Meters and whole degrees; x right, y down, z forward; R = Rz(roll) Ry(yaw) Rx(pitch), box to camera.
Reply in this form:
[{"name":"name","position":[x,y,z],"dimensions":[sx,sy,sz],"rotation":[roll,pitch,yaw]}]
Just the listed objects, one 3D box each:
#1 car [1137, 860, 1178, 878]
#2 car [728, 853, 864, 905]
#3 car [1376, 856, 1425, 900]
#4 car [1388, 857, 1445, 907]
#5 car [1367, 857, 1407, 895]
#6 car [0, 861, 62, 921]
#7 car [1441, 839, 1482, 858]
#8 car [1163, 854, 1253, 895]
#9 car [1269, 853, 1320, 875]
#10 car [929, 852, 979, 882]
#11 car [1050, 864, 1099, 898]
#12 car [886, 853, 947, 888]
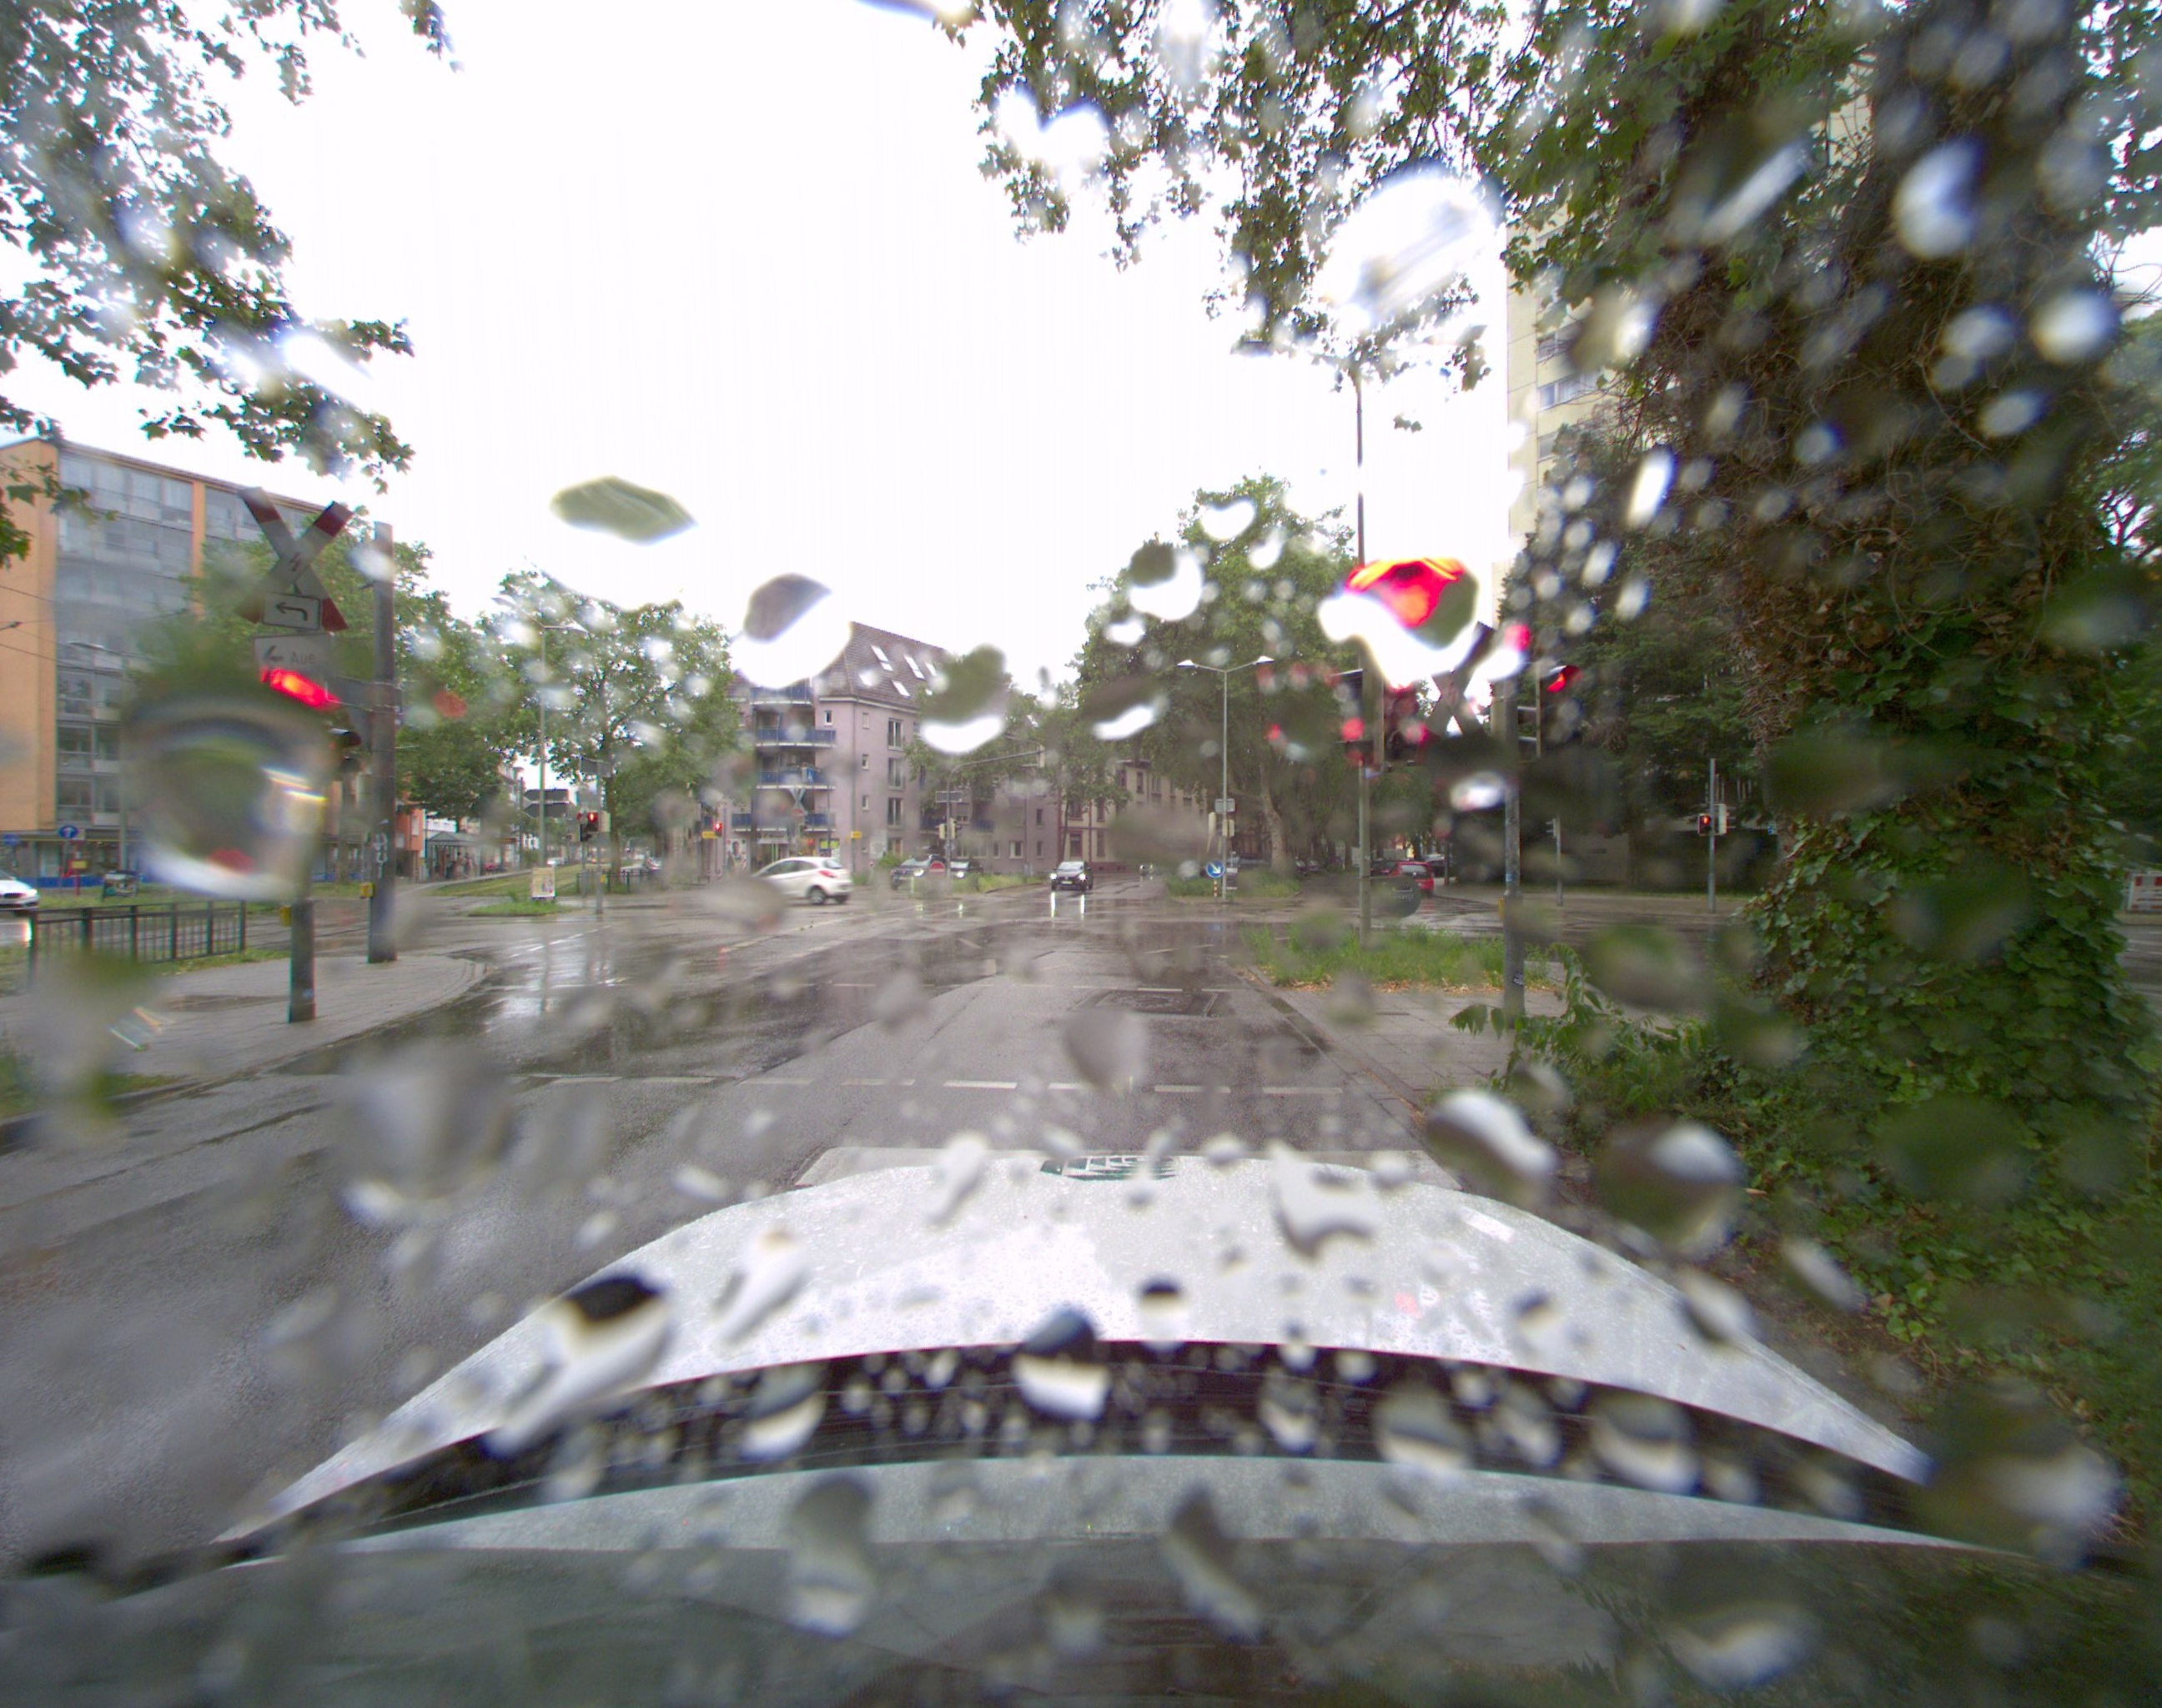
[{"name":"car","position":[7.033,1.355,74.500],"dimensions":[1.660,1.552,4.225],"rotation":[-2,0,38]},{"name":"car","position":[-8.957,0.771,25.717],"dimensions":[3.617,1.486,1.730],"rotation":[-2,0,11]},{"name":"car","position":[15.865,1.166,40.643],"dimensions":[1.977,2.013,4.019],"rotation":[-2,0,18]},{"name":"car","position":[14.848,1.204,36.233],"dimensions":[1.977,2.013,4.019],"rotation":[-2,0,18]},{"name":"car","position":[17.826,1.266,47.615],"dimensions":[1.977,2.013,4.019],"rotation":[-2,0,18]},{"name":"car","position":[-32.154,1.109,23.428],"dimensions":[3.978,1.651,1.980],"rotation":[-2,0,13]},{"name":"car","position":[42.550,-0.614,91.104],"dimensions":[3.953,2.013,1.716],"rotation":[-2,0,21]},{"name":"car","position":[5.166,0.808,33.020],"dimensions":[3.457,1.523,1.524],"rotation":[-2,0,10]},{"name":"car","position":[17.114,0.788,65.275],"dimensions":[3.571,1.618,1.692],"rotation":[-2,0,30]},{"name":"car","position":[-6.990,0.707,45.198],"dimensions":[1.715,1.552,3.567],"rotation":[-2,0,8]},{"name":"car","position":[-0.267,1.314,40.714],"dimensions":[1.591,1.552,3.572],"rotation":[-2,0,13]},{"name":"car","position":[-7.857,0.741,39.140],"dimensions":[1.715,1.552,3.567],"rotation":[-2,0,8]}]
